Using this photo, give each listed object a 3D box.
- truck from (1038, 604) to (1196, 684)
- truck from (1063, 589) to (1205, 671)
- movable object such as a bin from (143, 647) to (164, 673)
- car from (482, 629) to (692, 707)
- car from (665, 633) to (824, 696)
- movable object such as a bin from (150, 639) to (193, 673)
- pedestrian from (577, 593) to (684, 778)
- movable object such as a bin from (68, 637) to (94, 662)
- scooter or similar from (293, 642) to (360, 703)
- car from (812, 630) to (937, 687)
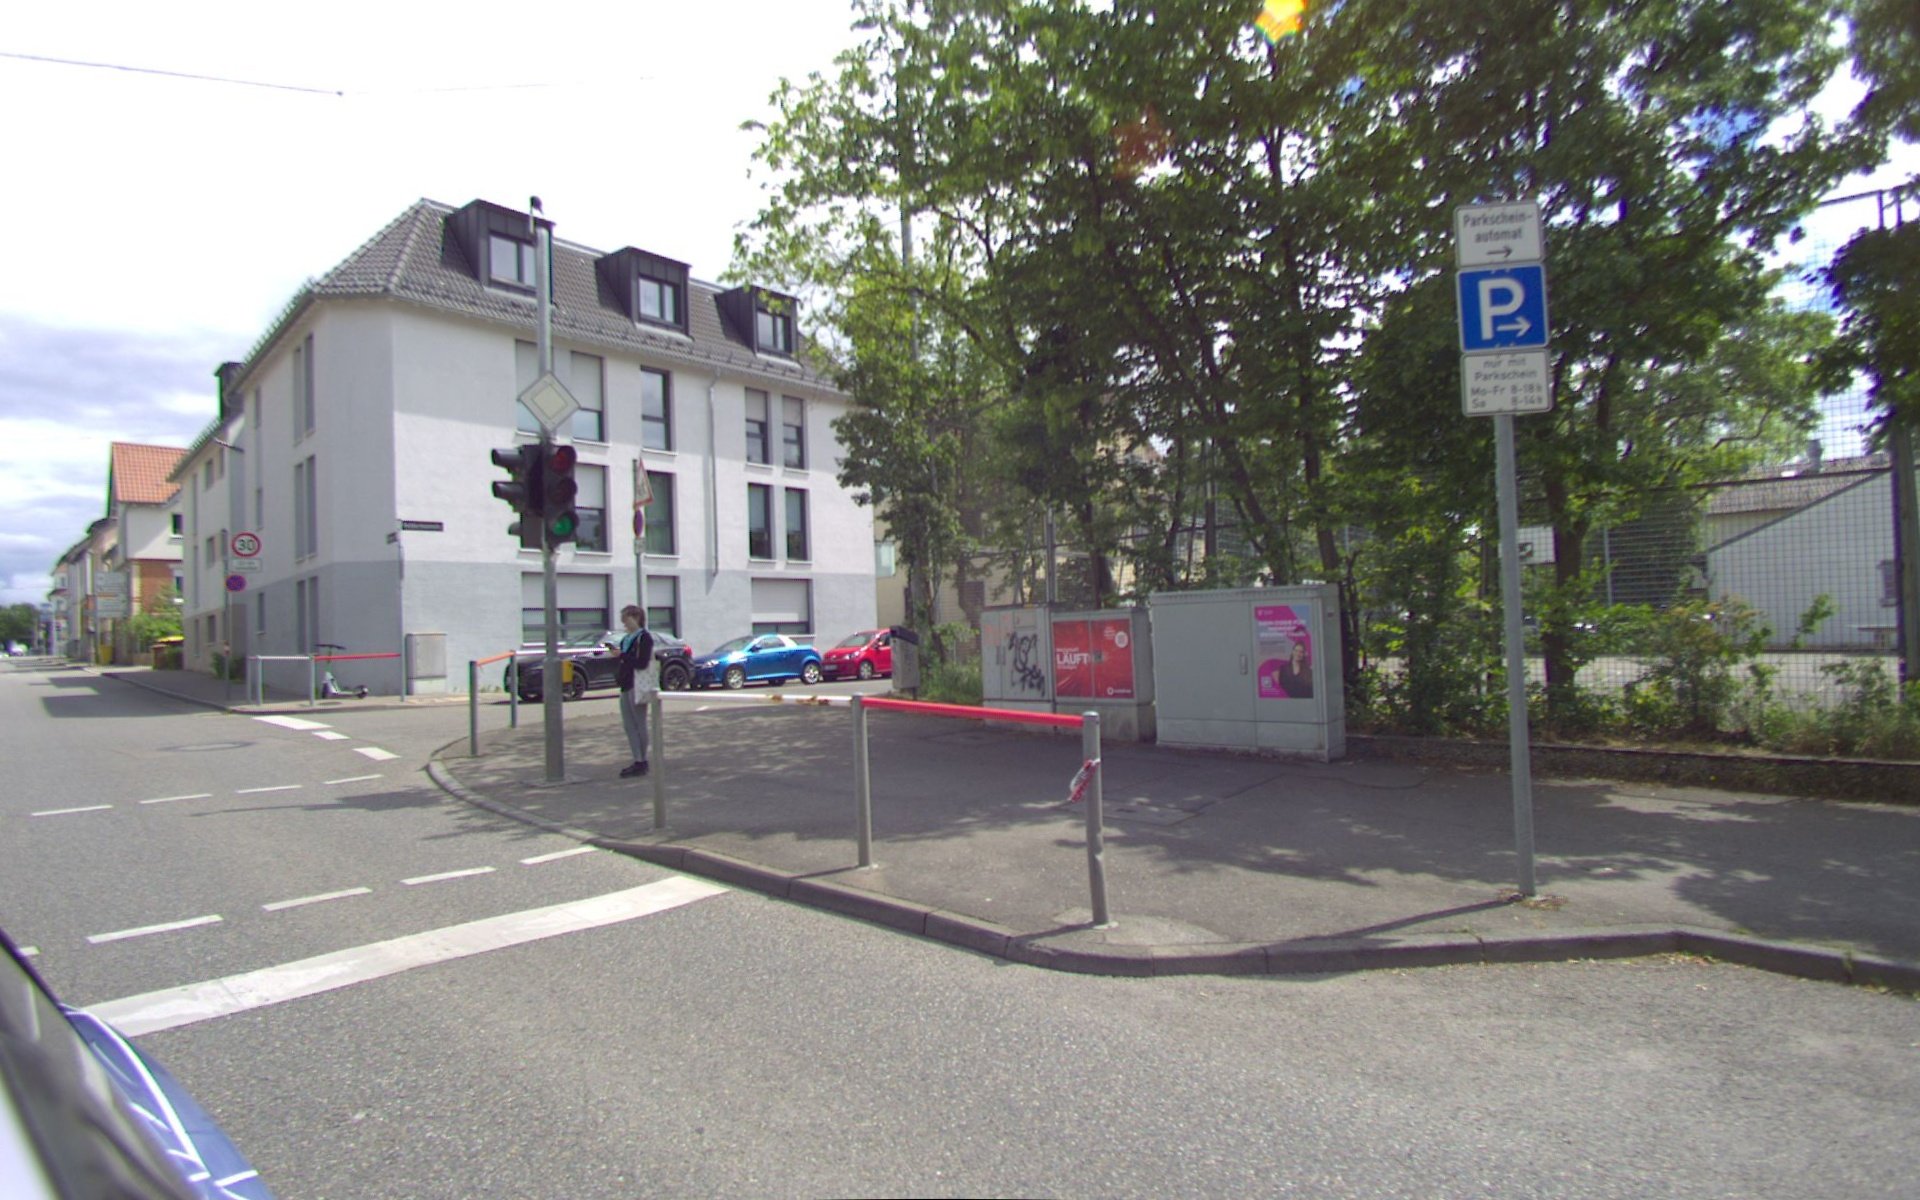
[{"bbox_3d":[4.510,1.174,28.456,2.143,2.050,4.985,-1,-2,39],"label":"truck"},{"bbox_3d":[7.268,1.230,41.505,2.501,2.949,7.275,-7,-5,37],"label":"truck"},{"bbox_3d":[-34.638,2.555,43.468,0.660,1.083,0.634,-3,-2,42],"label":"movable object such as a bin"},{"bbox_3d":[-8.141,1.464,22.331,1.856,1.488,3.947,-5,-4,39],"label":"car"},{"bbox_3d":[-5.434,1.622,25.821,1.601,1.411,3.742,-5,-4,42],"label":"car"},{"bbox_3d":[-35.125,2.471,45.108,1.170,1.457,1.320,-3,-2,41],"label":"movable object such as a bin"},{"bbox_3d":[-3.017,0.762,9.327,0.663,1.609,0.772,-2,-1,4],"label":"pedestrian"},{"bbox_3d":[-48.137,2.698,55.405,0.801,1.169,0.758,4,11,36],"label":"movable object such as a bin"},{"bbox_3d":[-13.579,1.546,21.697,1.295,1.271,0.488,-1,-2,16],"label":"scooter or similar"},{"bbox_3d":[-2.435,1.670,29.475,1.548,1.484,3.565,-6,-5,38],"label":"car"}]
